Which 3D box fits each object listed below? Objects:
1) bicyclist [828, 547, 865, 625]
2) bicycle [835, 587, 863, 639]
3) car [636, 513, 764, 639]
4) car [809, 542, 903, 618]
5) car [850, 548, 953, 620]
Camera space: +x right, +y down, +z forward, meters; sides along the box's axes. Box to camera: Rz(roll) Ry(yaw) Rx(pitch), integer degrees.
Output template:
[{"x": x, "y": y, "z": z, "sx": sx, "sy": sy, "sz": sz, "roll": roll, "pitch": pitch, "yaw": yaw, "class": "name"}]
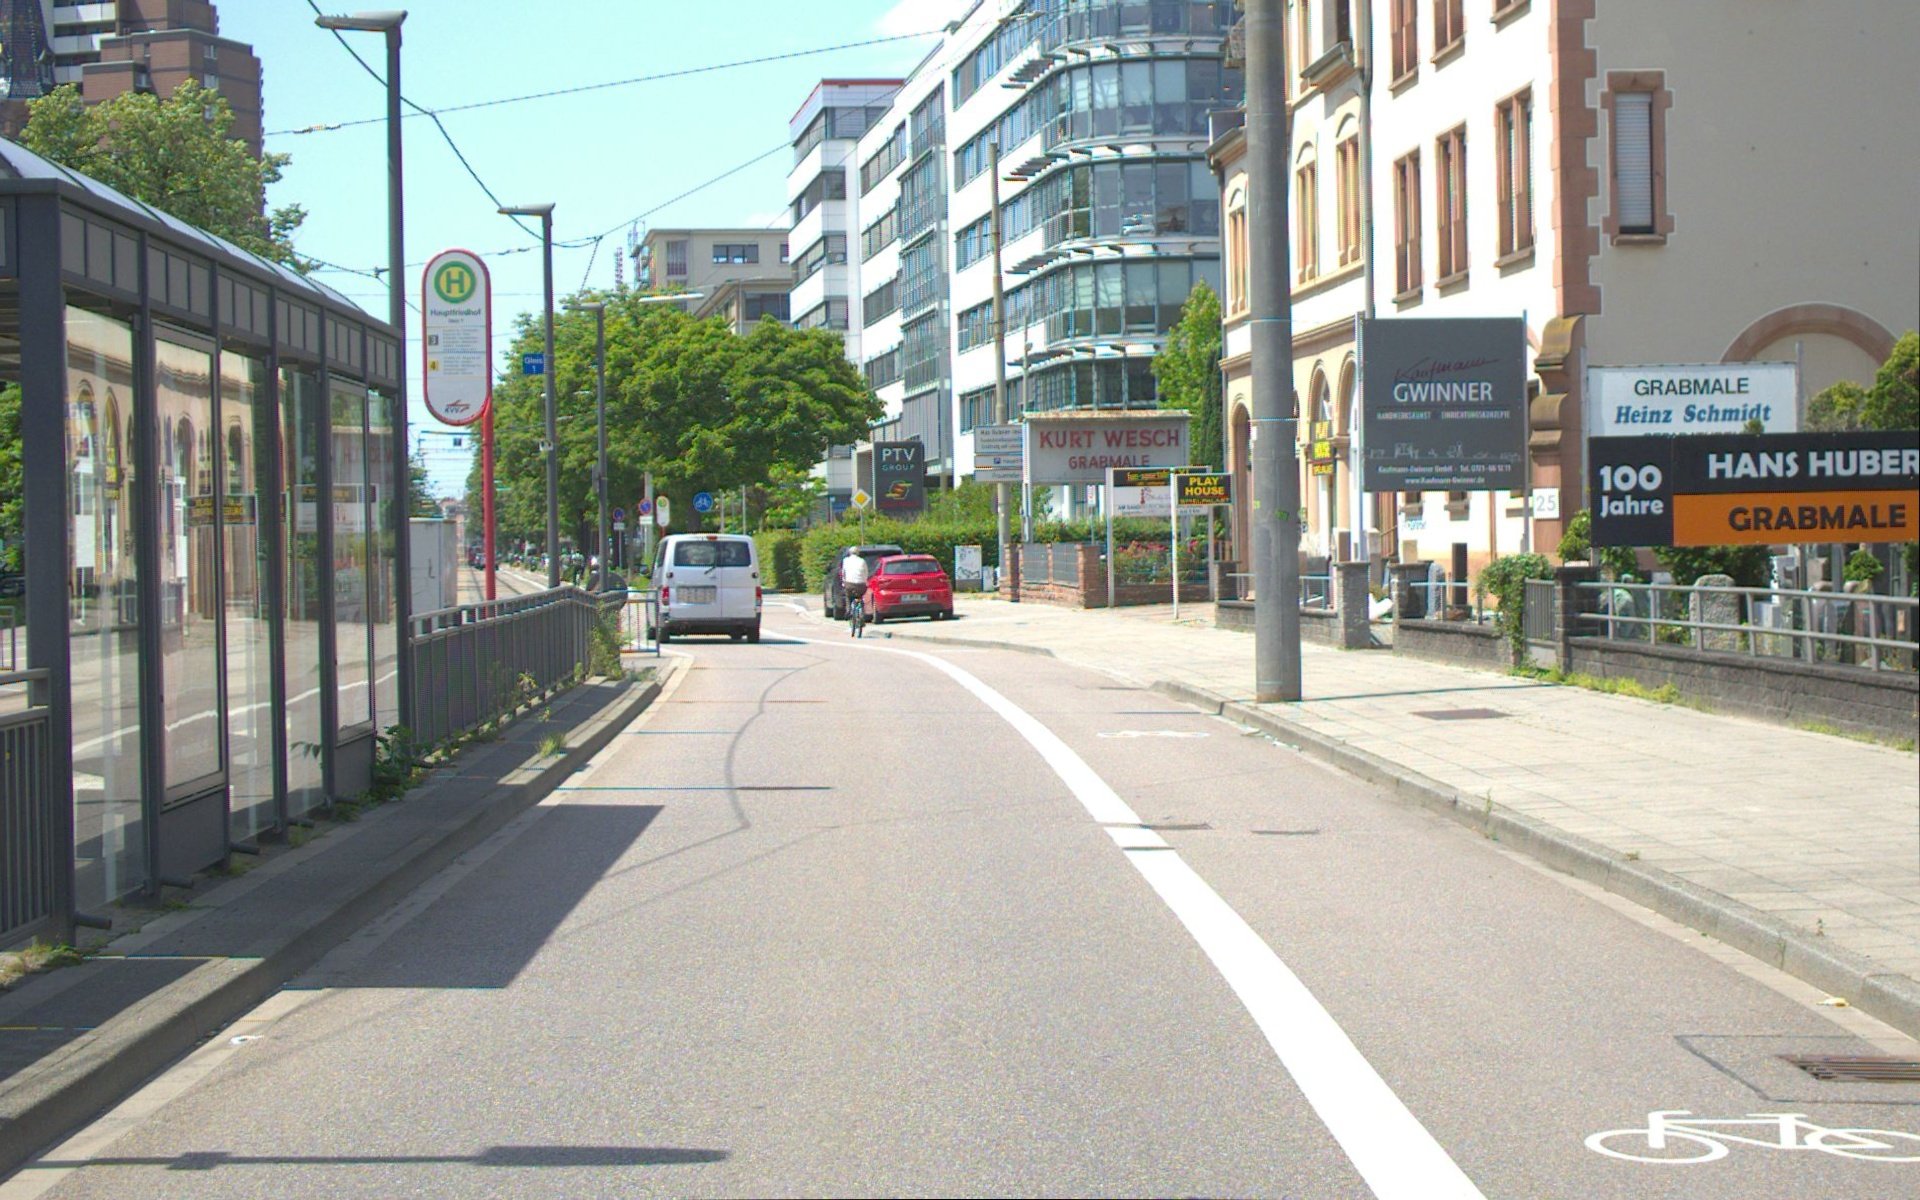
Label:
[{"x": -2.050, "y": -0.264, "z": 62.103, "sx": 0.591, "sy": 1.392, "sz": 0.842, "roll": -1, "pitch": 1, "yaw": -7, "class": "bicyclist"}, {"x": -2.020, "y": 0.231, "z": 62.270, "sx": 0.465, "sy": 0.884, "sz": 2.048, "roll": 0, "pitch": 1, "yaw": -3, "class": "bicycle"}, {"x": -4.470, "y": -0.448, "z": 58.653, "sx": 1.752, "sy": 2.006, "sz": 4.001, "roll": -2, "pitch": 2, "yaw": -10, "class": "car"}, {"x": -2.481, "y": -0.502, "z": 81.179, "sx": 1.863, "sy": 1.681, "sz": 5.001, "roll": -2, "pitch": 1, "yaw": -5, "class": "car"}, {"x": -1.297, "y": -0.369, "z": 74.876, "sx": 1.711, "sy": 1.448, "sz": 4.073, "roll": -3, "pitch": 1, "yaw": -8, "class": "car"}]
